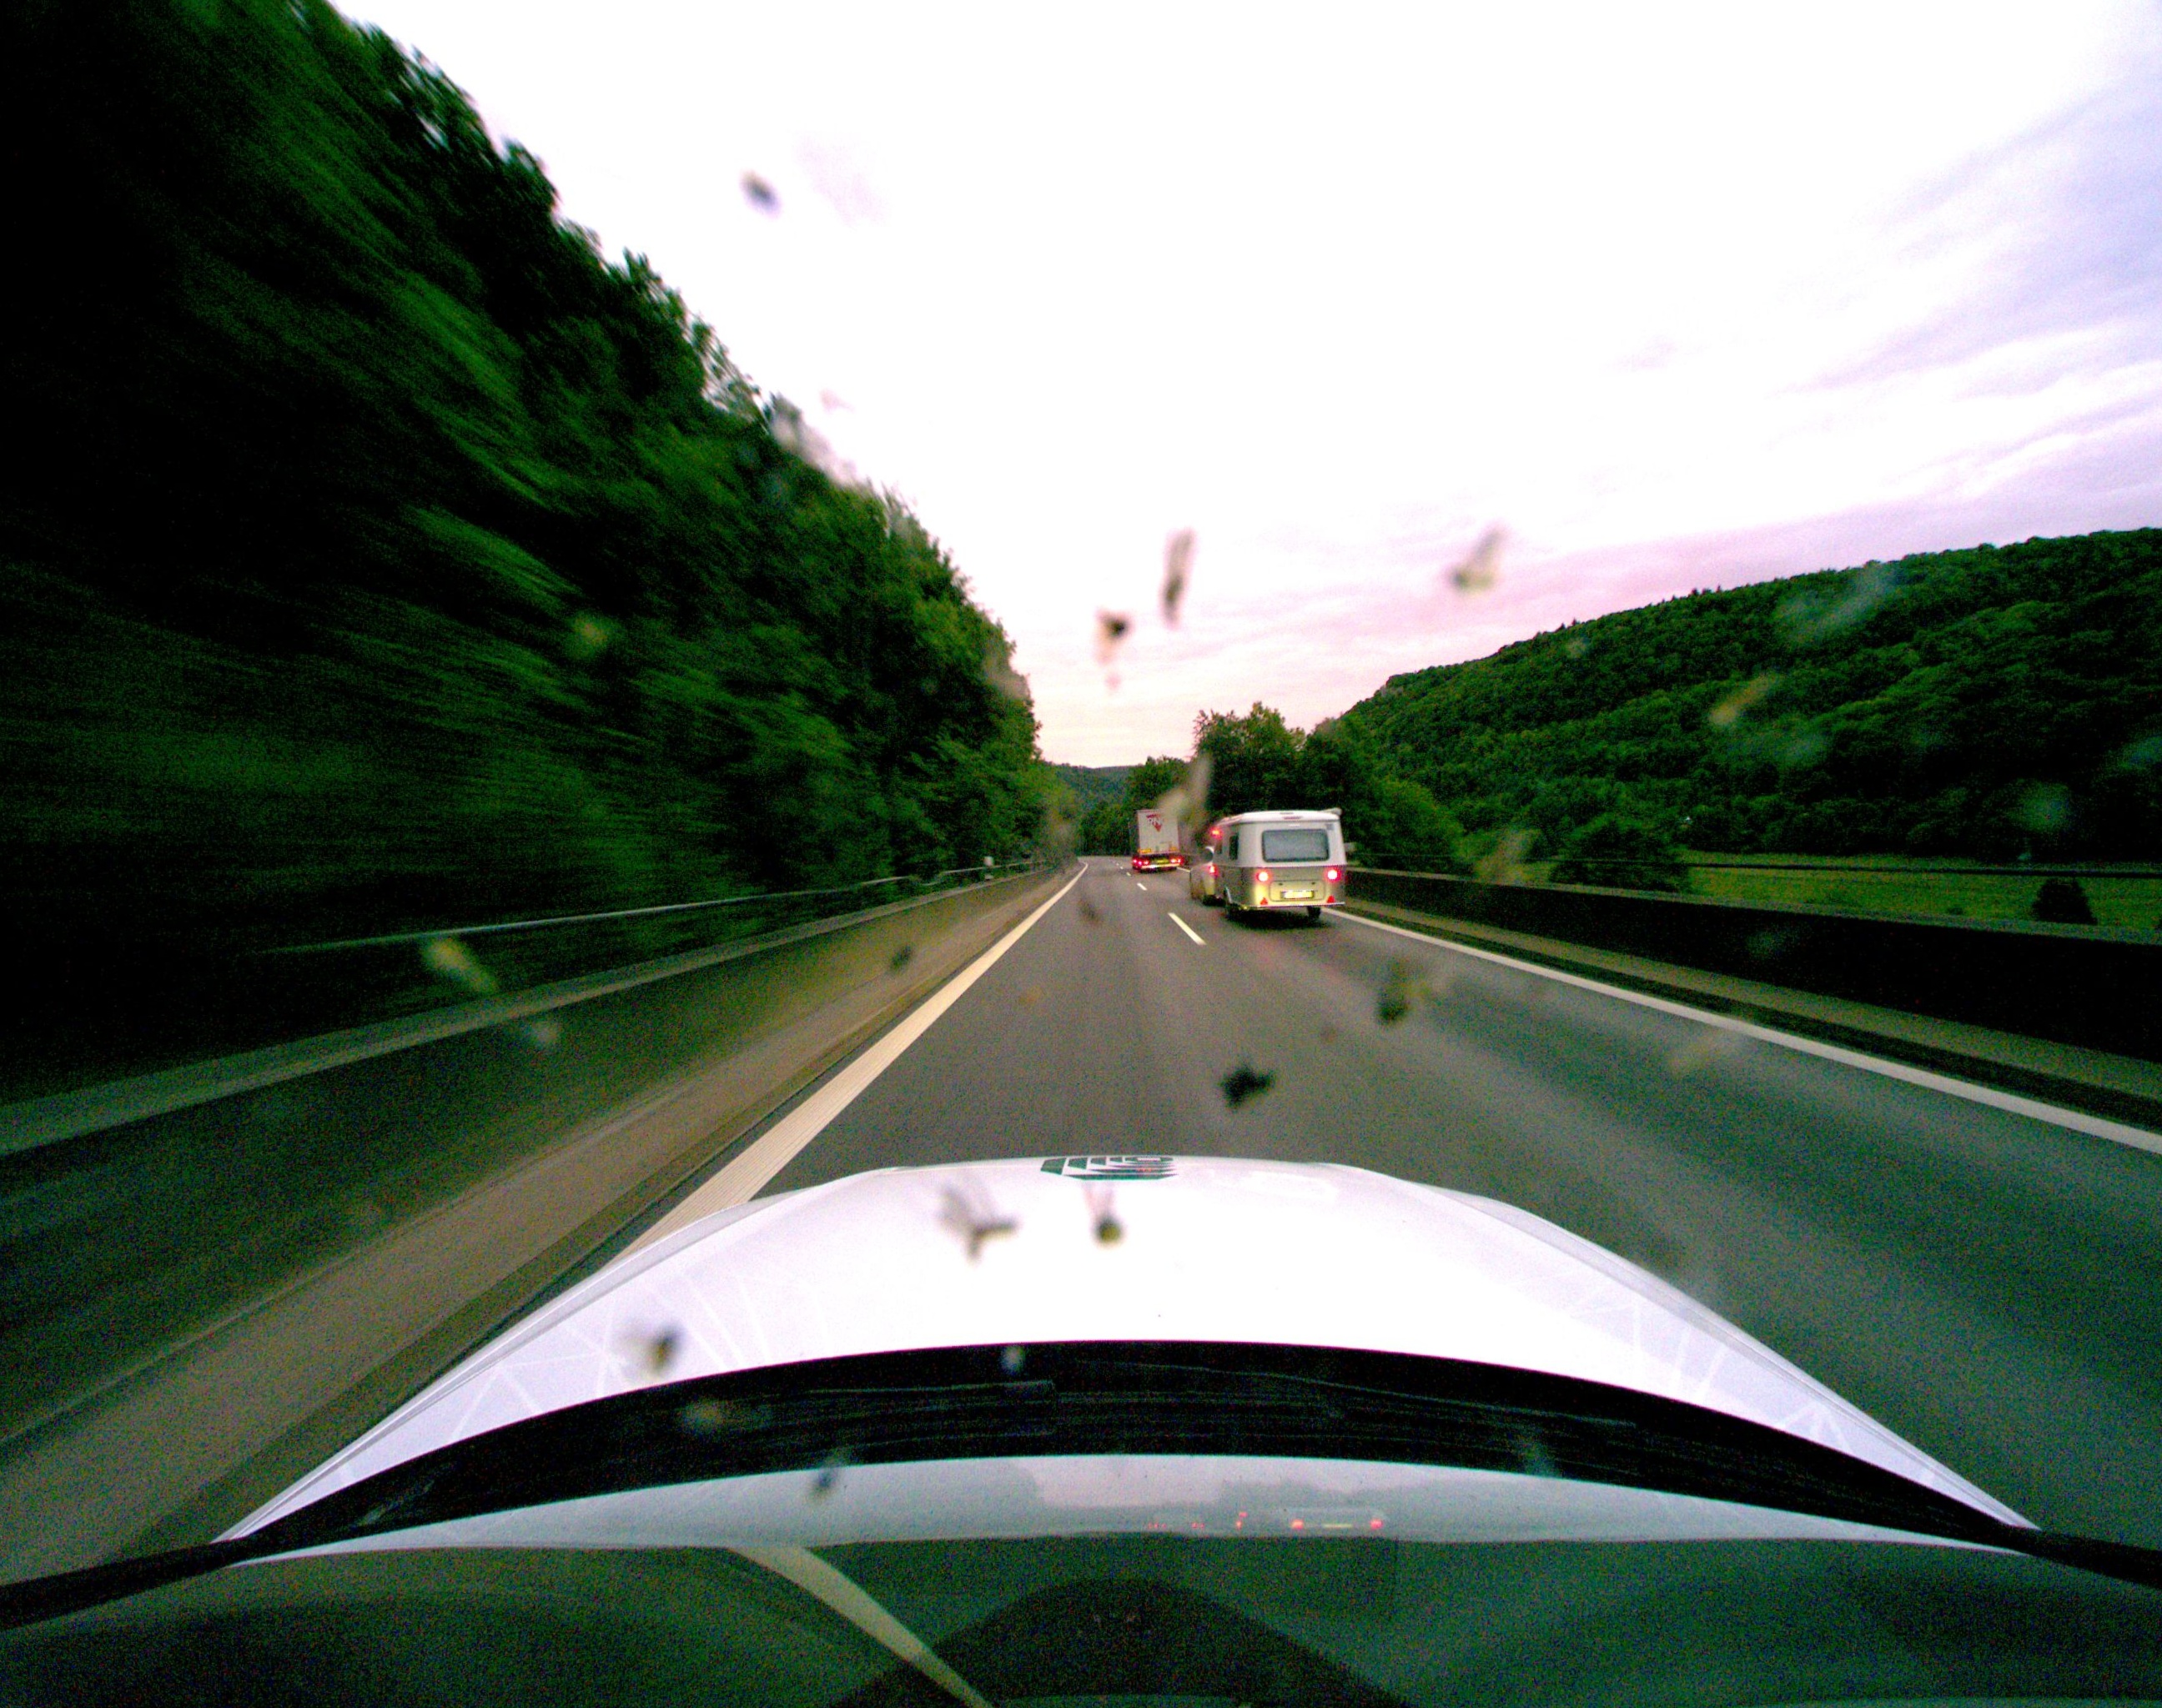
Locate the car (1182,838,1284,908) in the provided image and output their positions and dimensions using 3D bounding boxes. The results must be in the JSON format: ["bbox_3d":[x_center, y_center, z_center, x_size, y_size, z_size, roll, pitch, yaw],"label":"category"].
[{"bbox_3d":[4.173,0.482,23.128,1.986,1.614,4.866,-4,0,1],"label":"car"}]

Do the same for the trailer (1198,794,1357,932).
[{"bbox_3d":[4.039,0.155,17.967,2.047,2.374,5.940,-5,0,1],"label":"trailer"}]

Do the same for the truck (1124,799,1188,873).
[{"bbox_3d":[4.943,-1.070,57.244,3.282,4.172,16.511,-6,0,2],"label":"truck"}]
